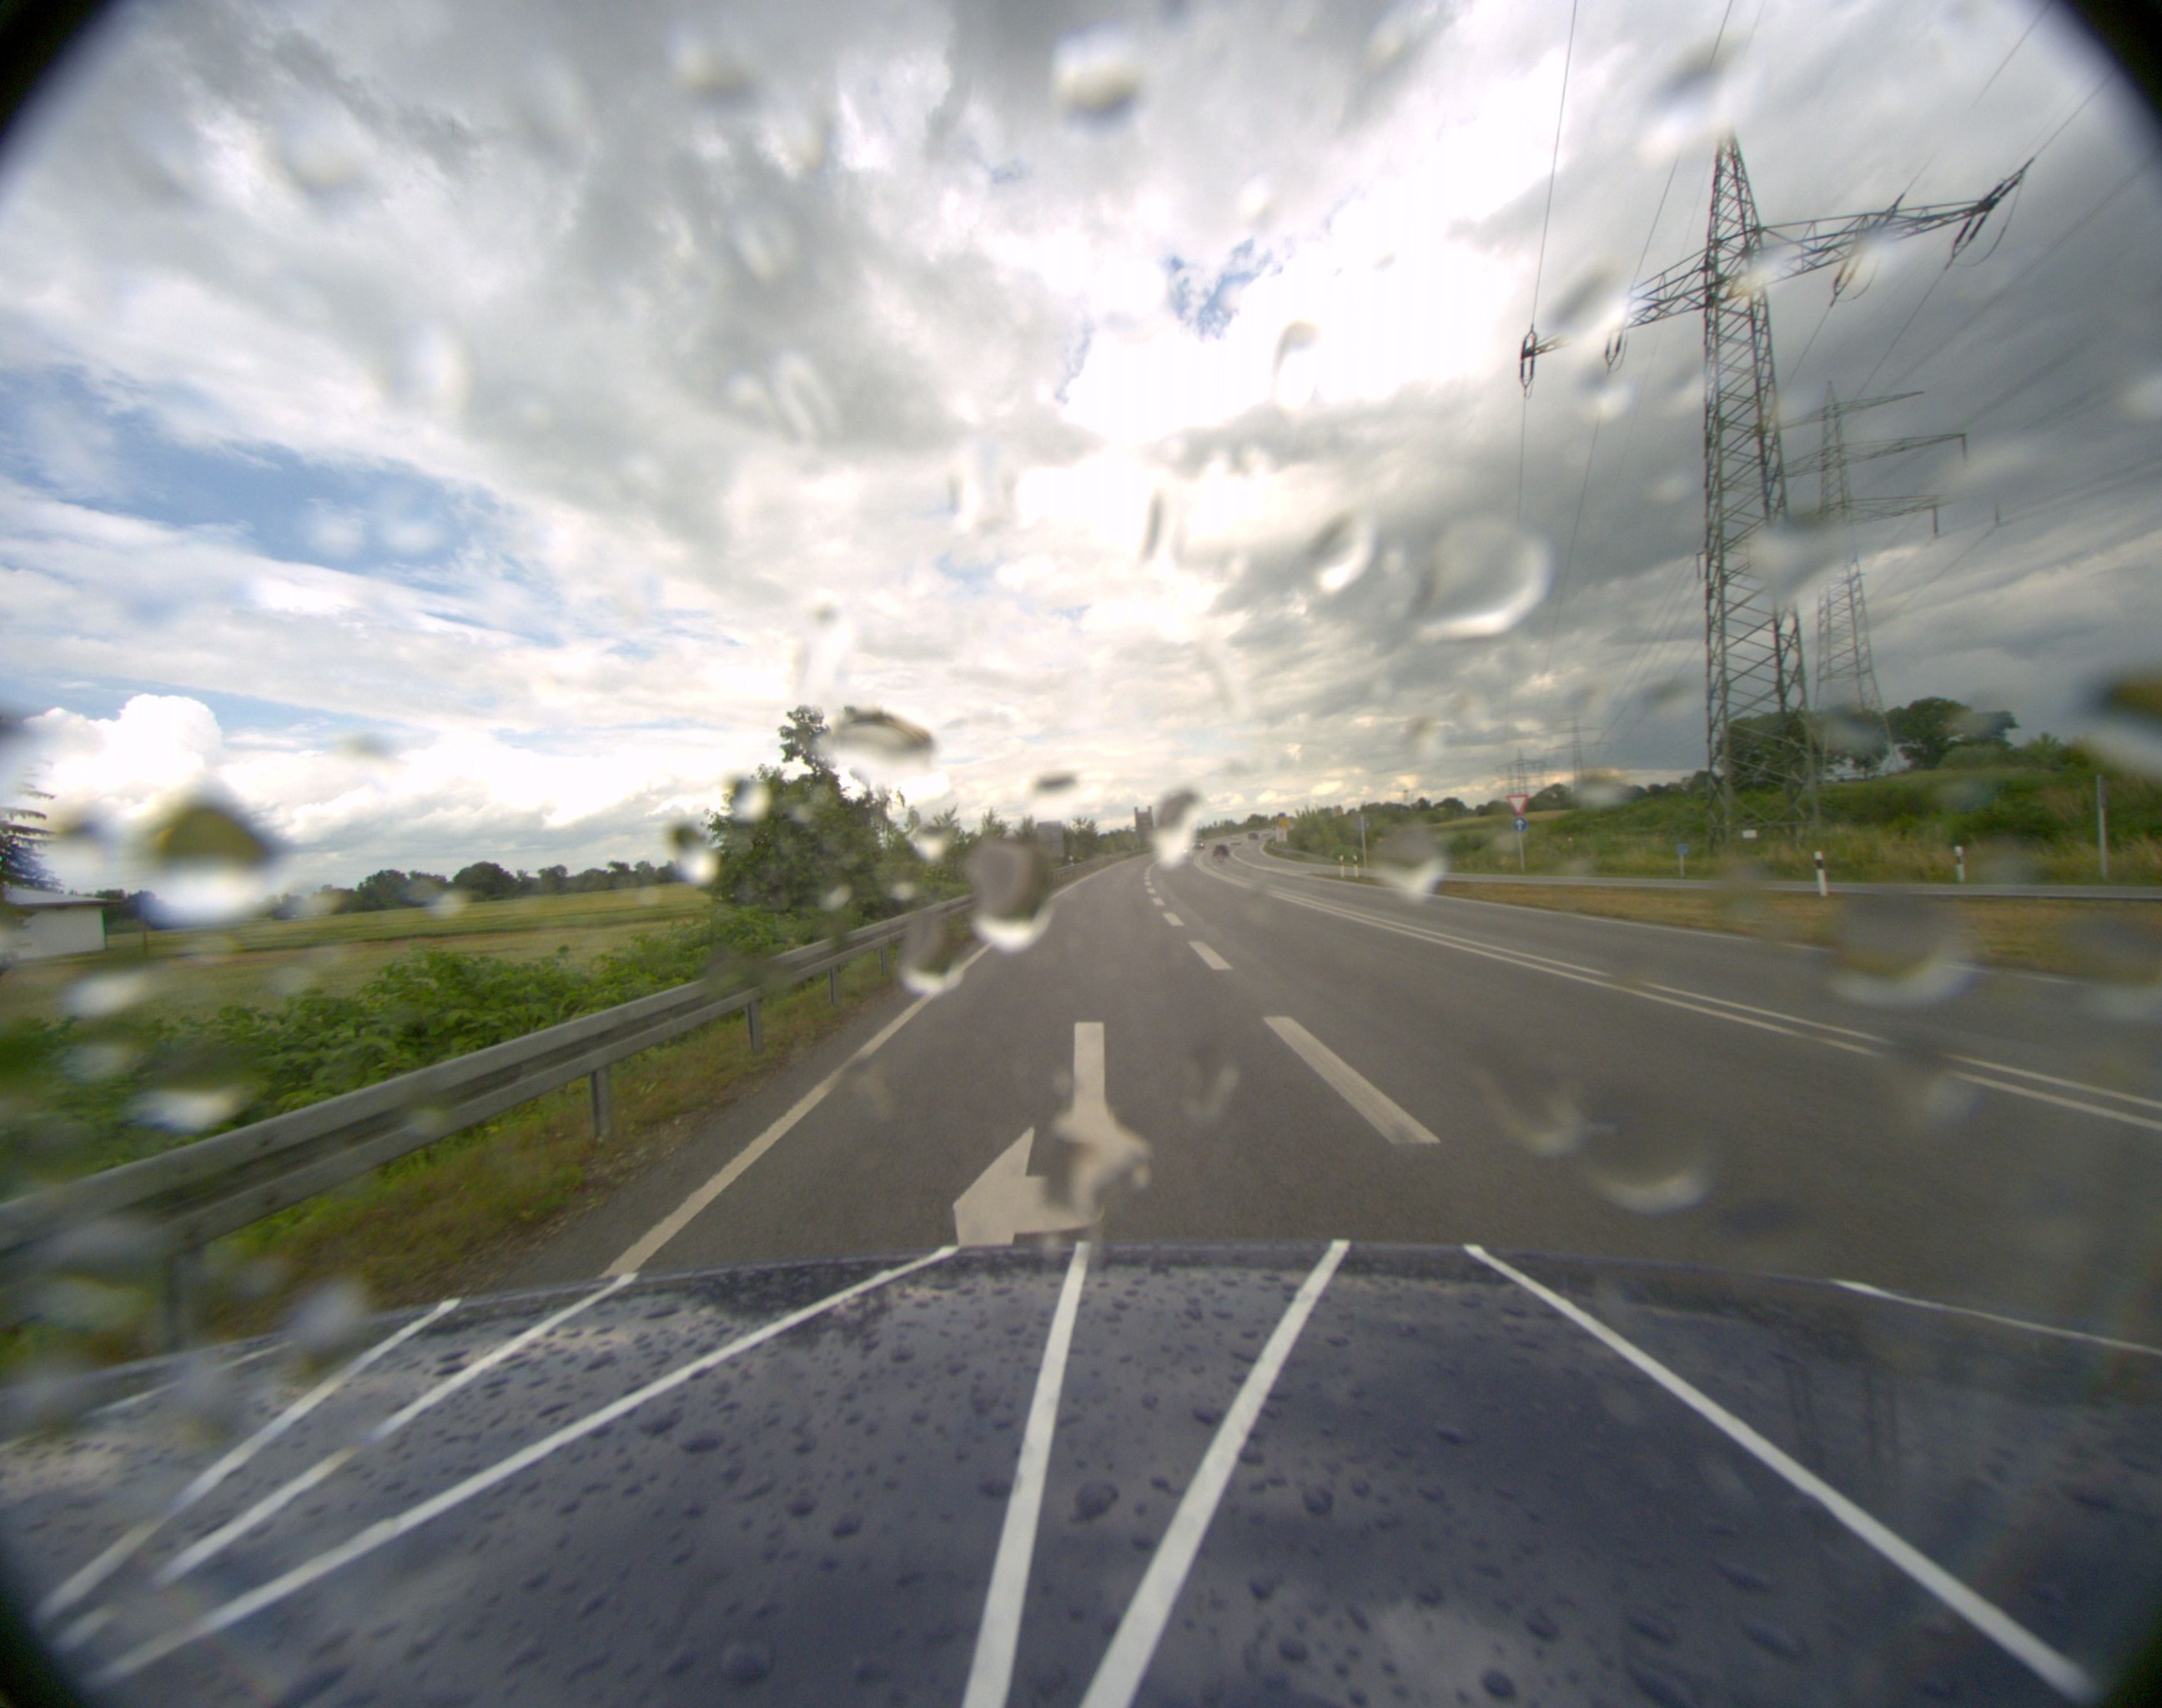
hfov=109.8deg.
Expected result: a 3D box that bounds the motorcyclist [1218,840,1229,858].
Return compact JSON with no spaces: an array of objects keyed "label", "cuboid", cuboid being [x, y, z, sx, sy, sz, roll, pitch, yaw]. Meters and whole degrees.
[{"label":"motorcyclist","cuboid":[12.370,-0.421,66.033,0.803,1.526,0.825,-2,1,14]}]

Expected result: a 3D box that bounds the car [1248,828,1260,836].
[{"label":"car","cuboid":[37.288,-4.757,163.524,1.801,1.566,4.264,0,3,21]}]

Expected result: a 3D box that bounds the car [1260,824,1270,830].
[{"label":"car","cuboid":[45.960,-6.743,189.607,1.680,1.450,4.079,1,5,26]}]

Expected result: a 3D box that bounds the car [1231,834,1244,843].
[{"label":"car","cuboid":[28.407,-2.799,137.681,1.707,1.472,4.615,-2,2,19]}]

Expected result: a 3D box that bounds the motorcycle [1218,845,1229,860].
[{"label":"motorcycle","cuboid":[12.372,-0.154,65.985,0.803,1.231,2.187,-2,0,12]}]

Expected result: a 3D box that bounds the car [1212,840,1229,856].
[{"label":"car","cuboid":[15.510,-0.678,84.531,1.803,1.585,4.227,-2,1,10]}]

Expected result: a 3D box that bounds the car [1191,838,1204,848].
[{"label":"car","cuboid":[18.844,-1.799,123.006,1.747,1.489,4.052,-3,2,13]}]

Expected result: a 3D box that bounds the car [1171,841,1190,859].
[{"label":"car","cuboid":[10.488,-0.436,79.771,1.795,1.758,4.002,-3,1,8]}]
